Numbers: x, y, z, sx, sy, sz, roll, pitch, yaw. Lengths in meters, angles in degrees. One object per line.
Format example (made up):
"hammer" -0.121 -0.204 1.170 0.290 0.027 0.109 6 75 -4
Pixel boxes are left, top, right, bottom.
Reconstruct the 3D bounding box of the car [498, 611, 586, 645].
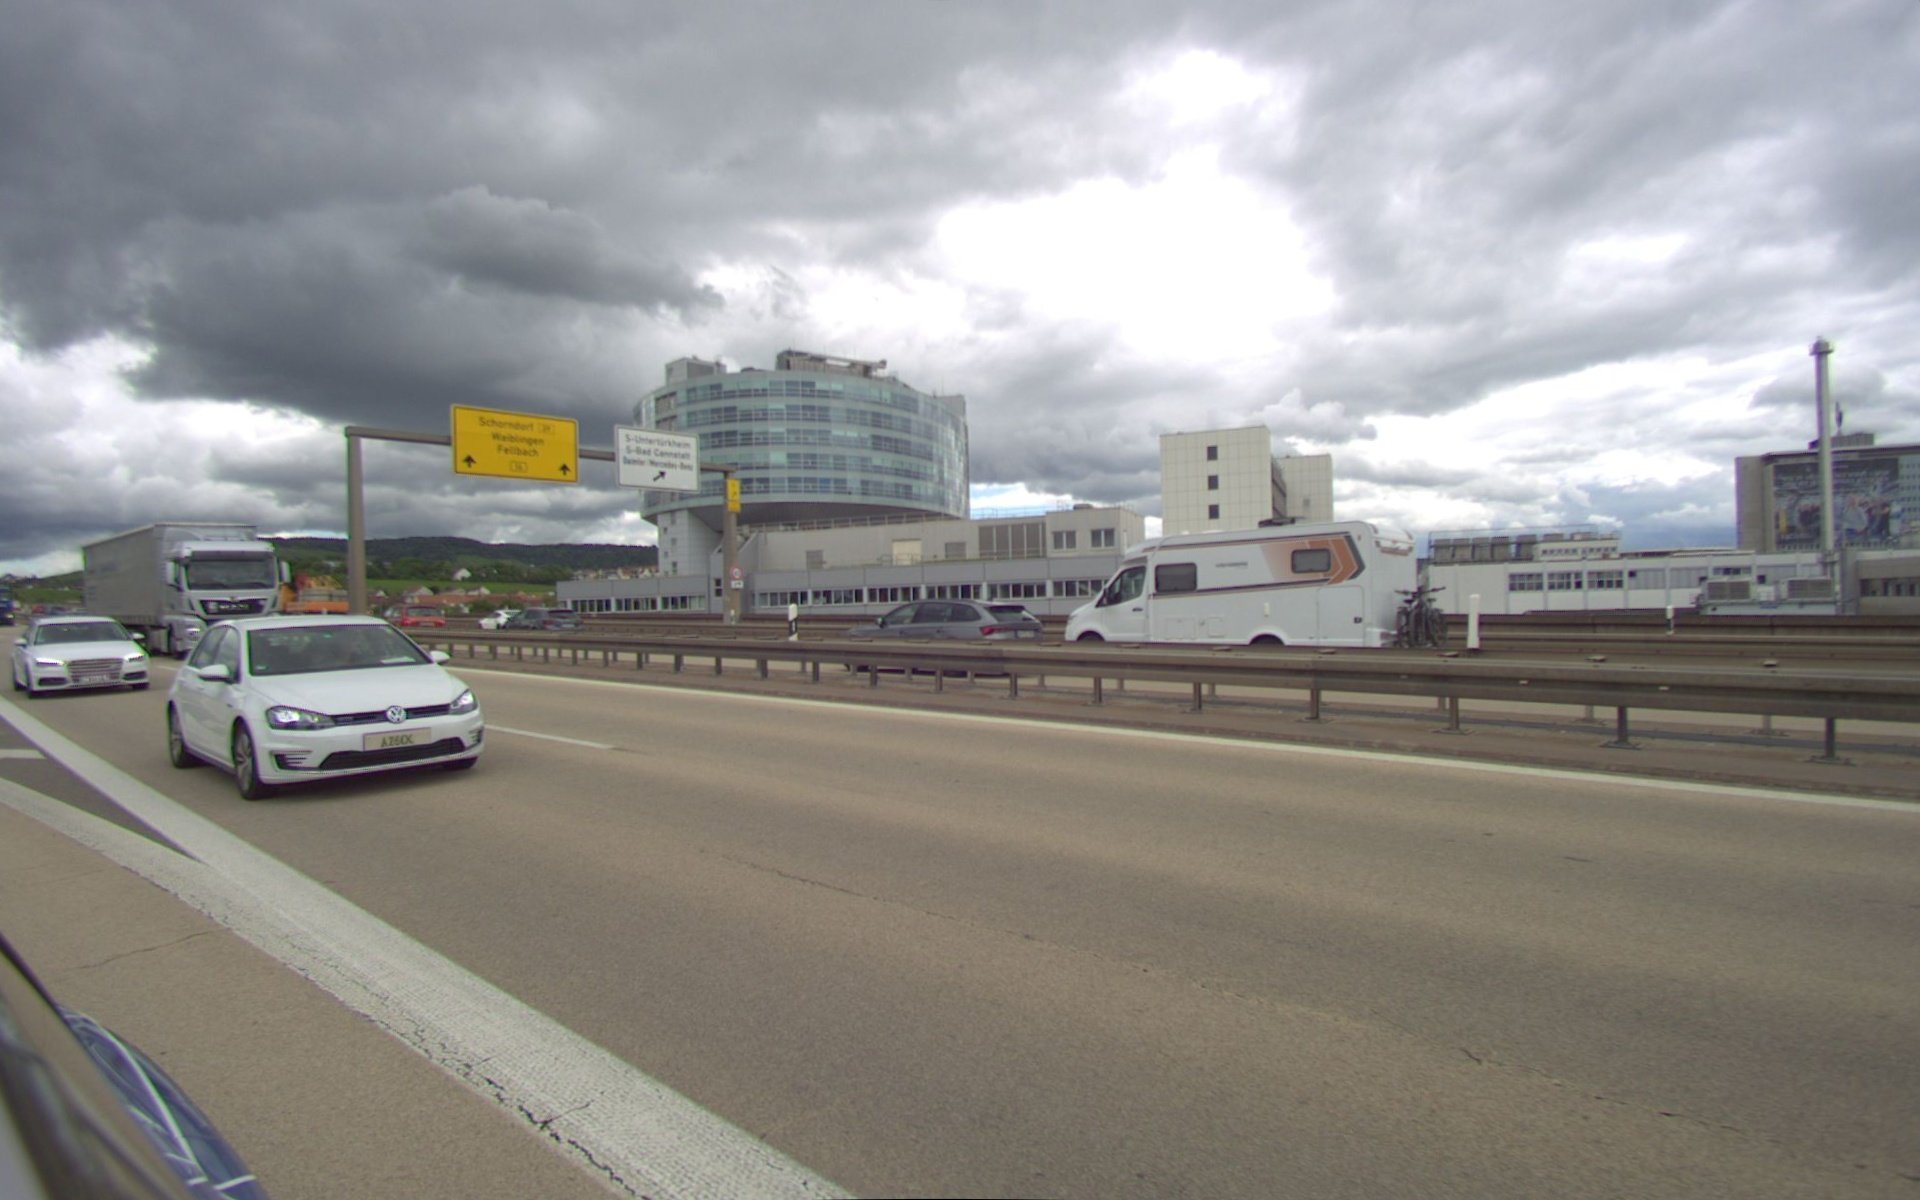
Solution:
"car" -16.376 1.114 39.571 4.282 1.244 1.623 -2 -2 44

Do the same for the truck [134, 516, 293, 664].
"truck" -22.448 -0.301 30.367 4.790 4.041 2.826 -1 1 42

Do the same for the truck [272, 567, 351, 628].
"truck" -39.198 -0.088 61.122 5.103 3.506 2.713 -2 -2 41

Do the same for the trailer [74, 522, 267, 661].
"trailer" -27.882 -0.250 35.301 13.970 4.041 2.826 -1 1 42

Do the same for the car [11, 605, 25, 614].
"car" -177.337 1.804 190.543 3.650 1.529 1.665 -2 2 44

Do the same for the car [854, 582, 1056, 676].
"car" -0.165 0.548 19.058 3.718 1.597 1.627 -2 -2 43

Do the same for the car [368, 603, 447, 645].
"car" -21.272 0.910 38.942 3.643 1.563 1.675 -1 -1 44

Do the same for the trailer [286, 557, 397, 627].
"trailer" -35.518 -0.300 57.931 9.351 3.664 2.706 -2 -2 41

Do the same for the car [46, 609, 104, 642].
"car" -44.960 1.283 51.377 4.001 1.529 1.763 -2 2 44

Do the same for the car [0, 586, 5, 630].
"car" -81.621 0.761 84.506 4.799 3.688 2.332 -2 2 44

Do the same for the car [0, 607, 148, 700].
"car" -17.229 0.981 19.606 4.001 1.529 1.763 -2 1 44

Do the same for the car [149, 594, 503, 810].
"car" -5.904 0.769 9.219 3.999 1.508 1.691 -2 0 42

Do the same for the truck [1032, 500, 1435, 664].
"truck" 5.020 -0.180 19.853 7.351 2.646 2.462 -2 -2 44
